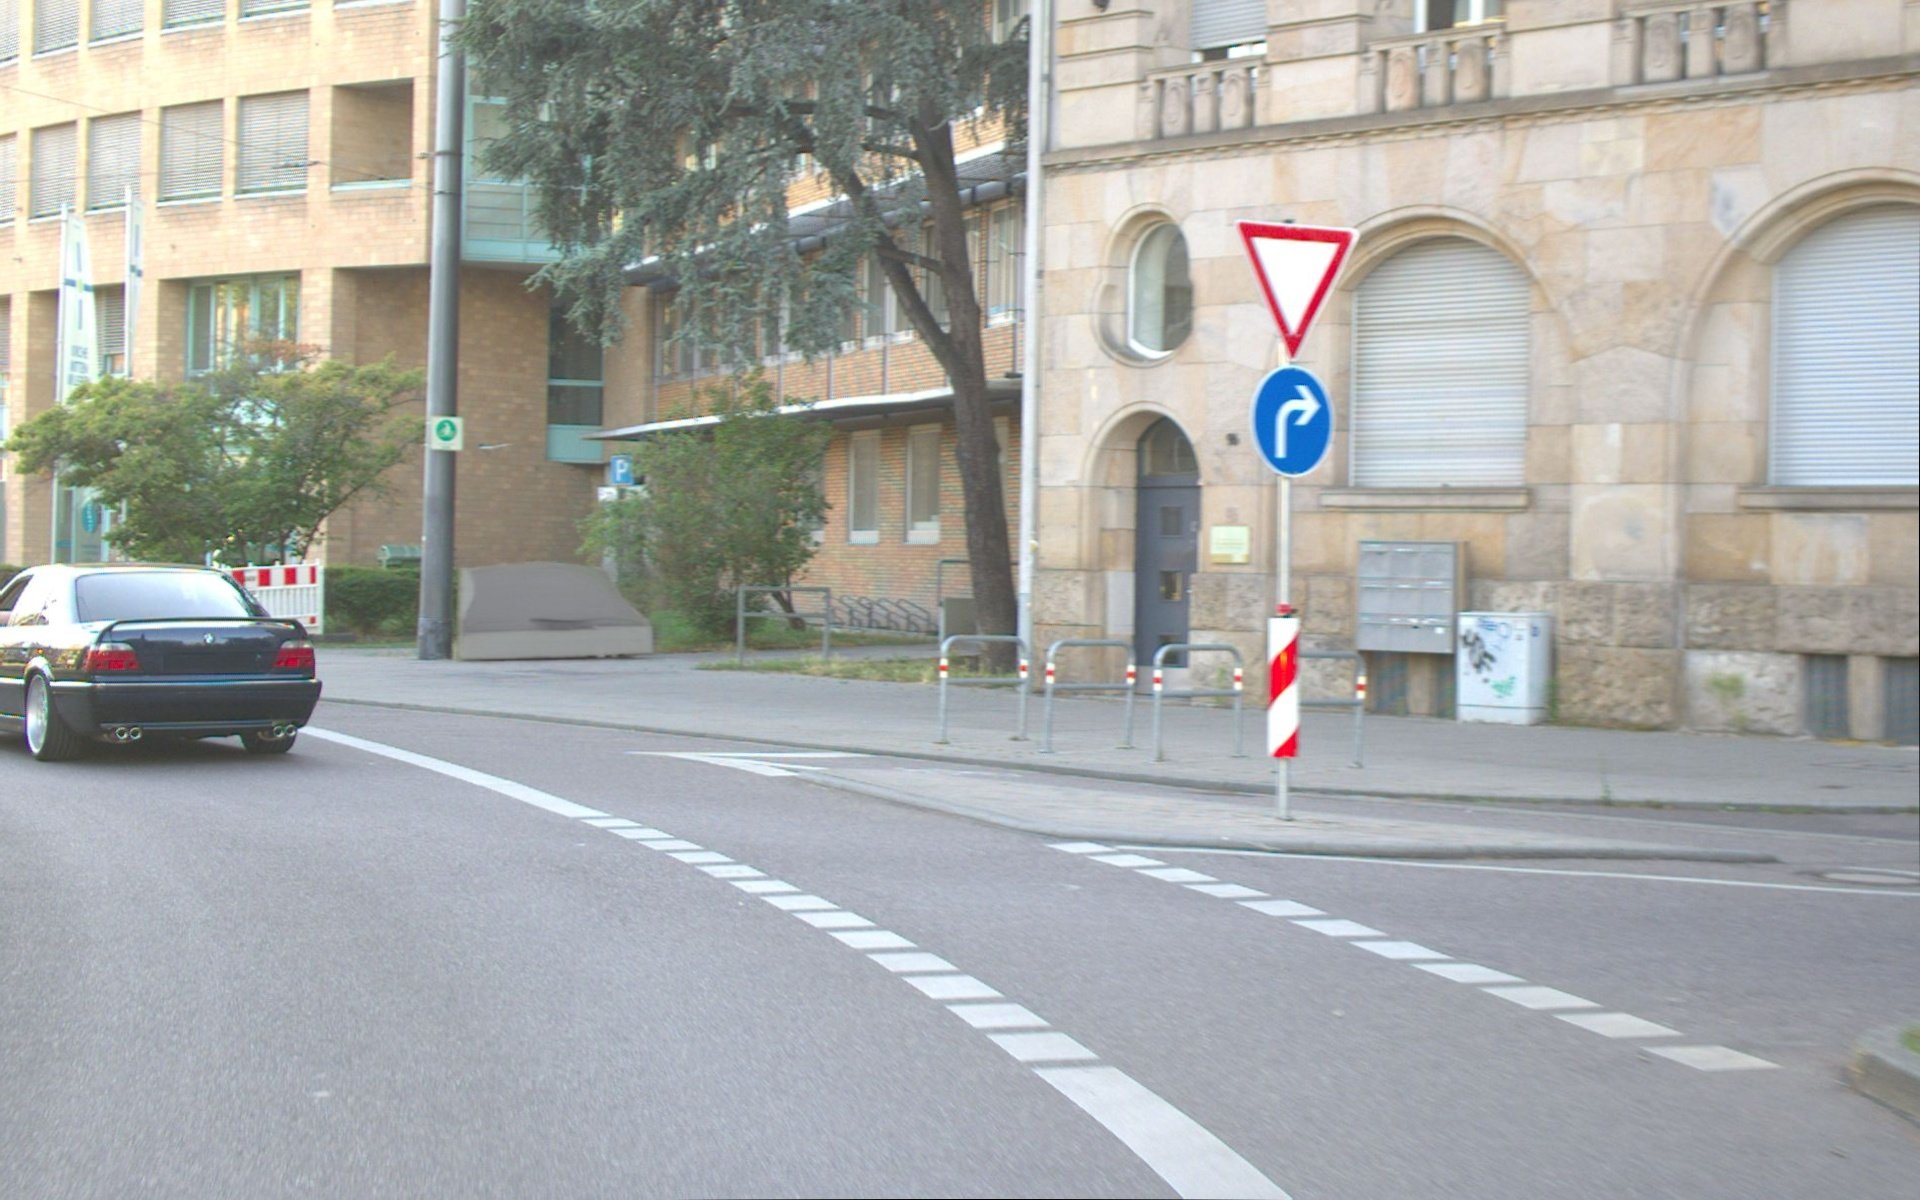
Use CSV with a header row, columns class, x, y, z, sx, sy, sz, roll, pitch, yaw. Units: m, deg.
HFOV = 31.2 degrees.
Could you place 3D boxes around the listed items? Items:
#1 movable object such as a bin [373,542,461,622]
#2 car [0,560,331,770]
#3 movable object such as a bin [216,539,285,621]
class,x,y,z,sx,sy,sz,roll,pitch,yaw
movable object such as a bin,-9.940,-0.337,62.941,1.340,1.419,0.924,0,2,-27
car,-6.314,0.415,25.567,1.830,1.349,4.641,-3,2,-28
movable object such as a bin,-12.903,-0.367,62.523,0.971,1.432,1.345,1,2,-1
